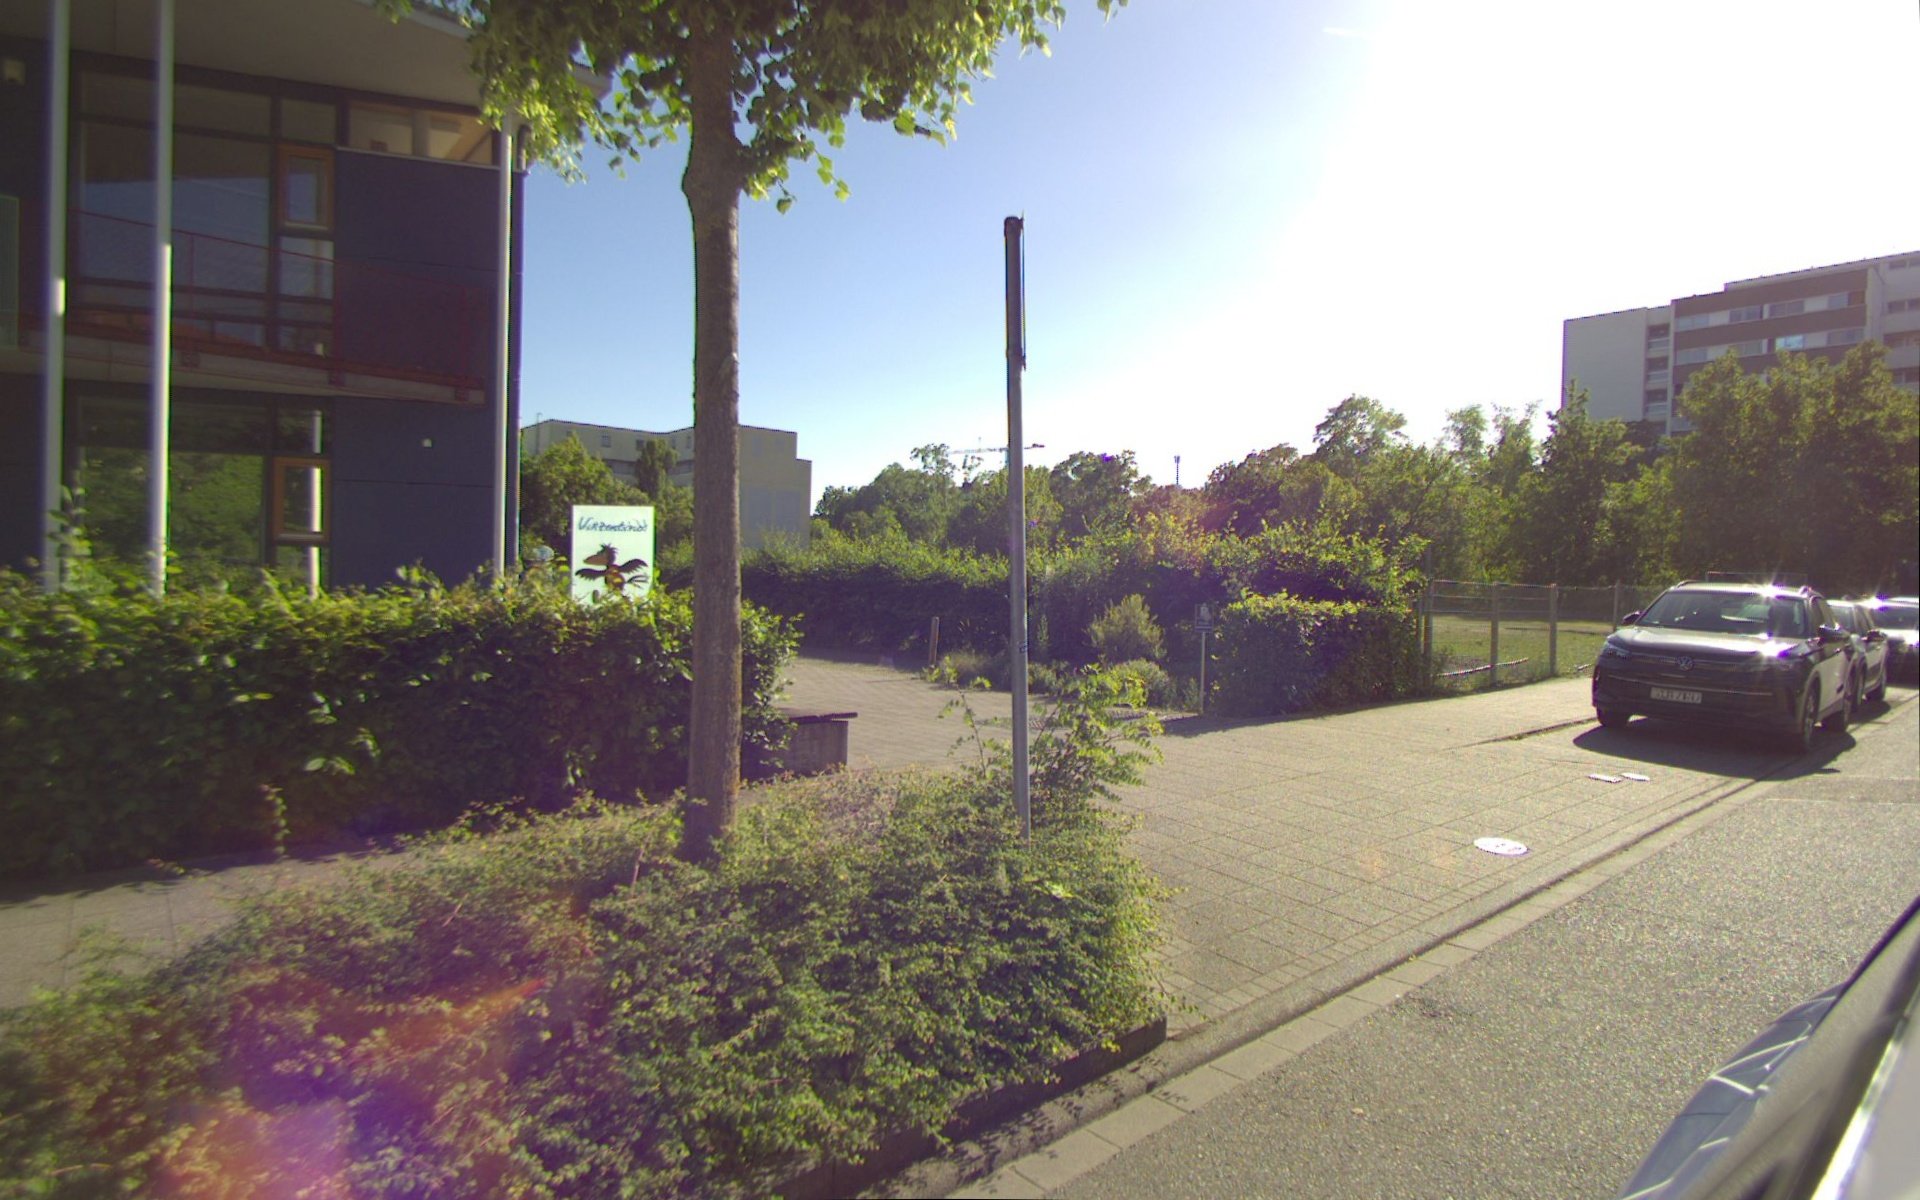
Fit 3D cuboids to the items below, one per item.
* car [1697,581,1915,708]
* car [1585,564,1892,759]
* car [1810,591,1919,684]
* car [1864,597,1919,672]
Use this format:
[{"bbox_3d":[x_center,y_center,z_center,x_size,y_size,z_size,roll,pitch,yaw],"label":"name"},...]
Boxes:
[{"bbox_3d":[12.454,0.564,14.830,3.775,1.484,1.822,0,4,-41],"label":"car"},{"bbox_3d":[8.846,0.549,11.350,4.410,1.667,1.822,0,4,-41],"label":"car"},{"bbox_3d":[17.949,0.660,19.453,3.776,1.484,1.822,-1,6,-41],"label":"car"},{"bbox_3d":[22.041,0.779,23.049,3.639,1.484,1.644,-1,6,-41],"label":"car"}]
